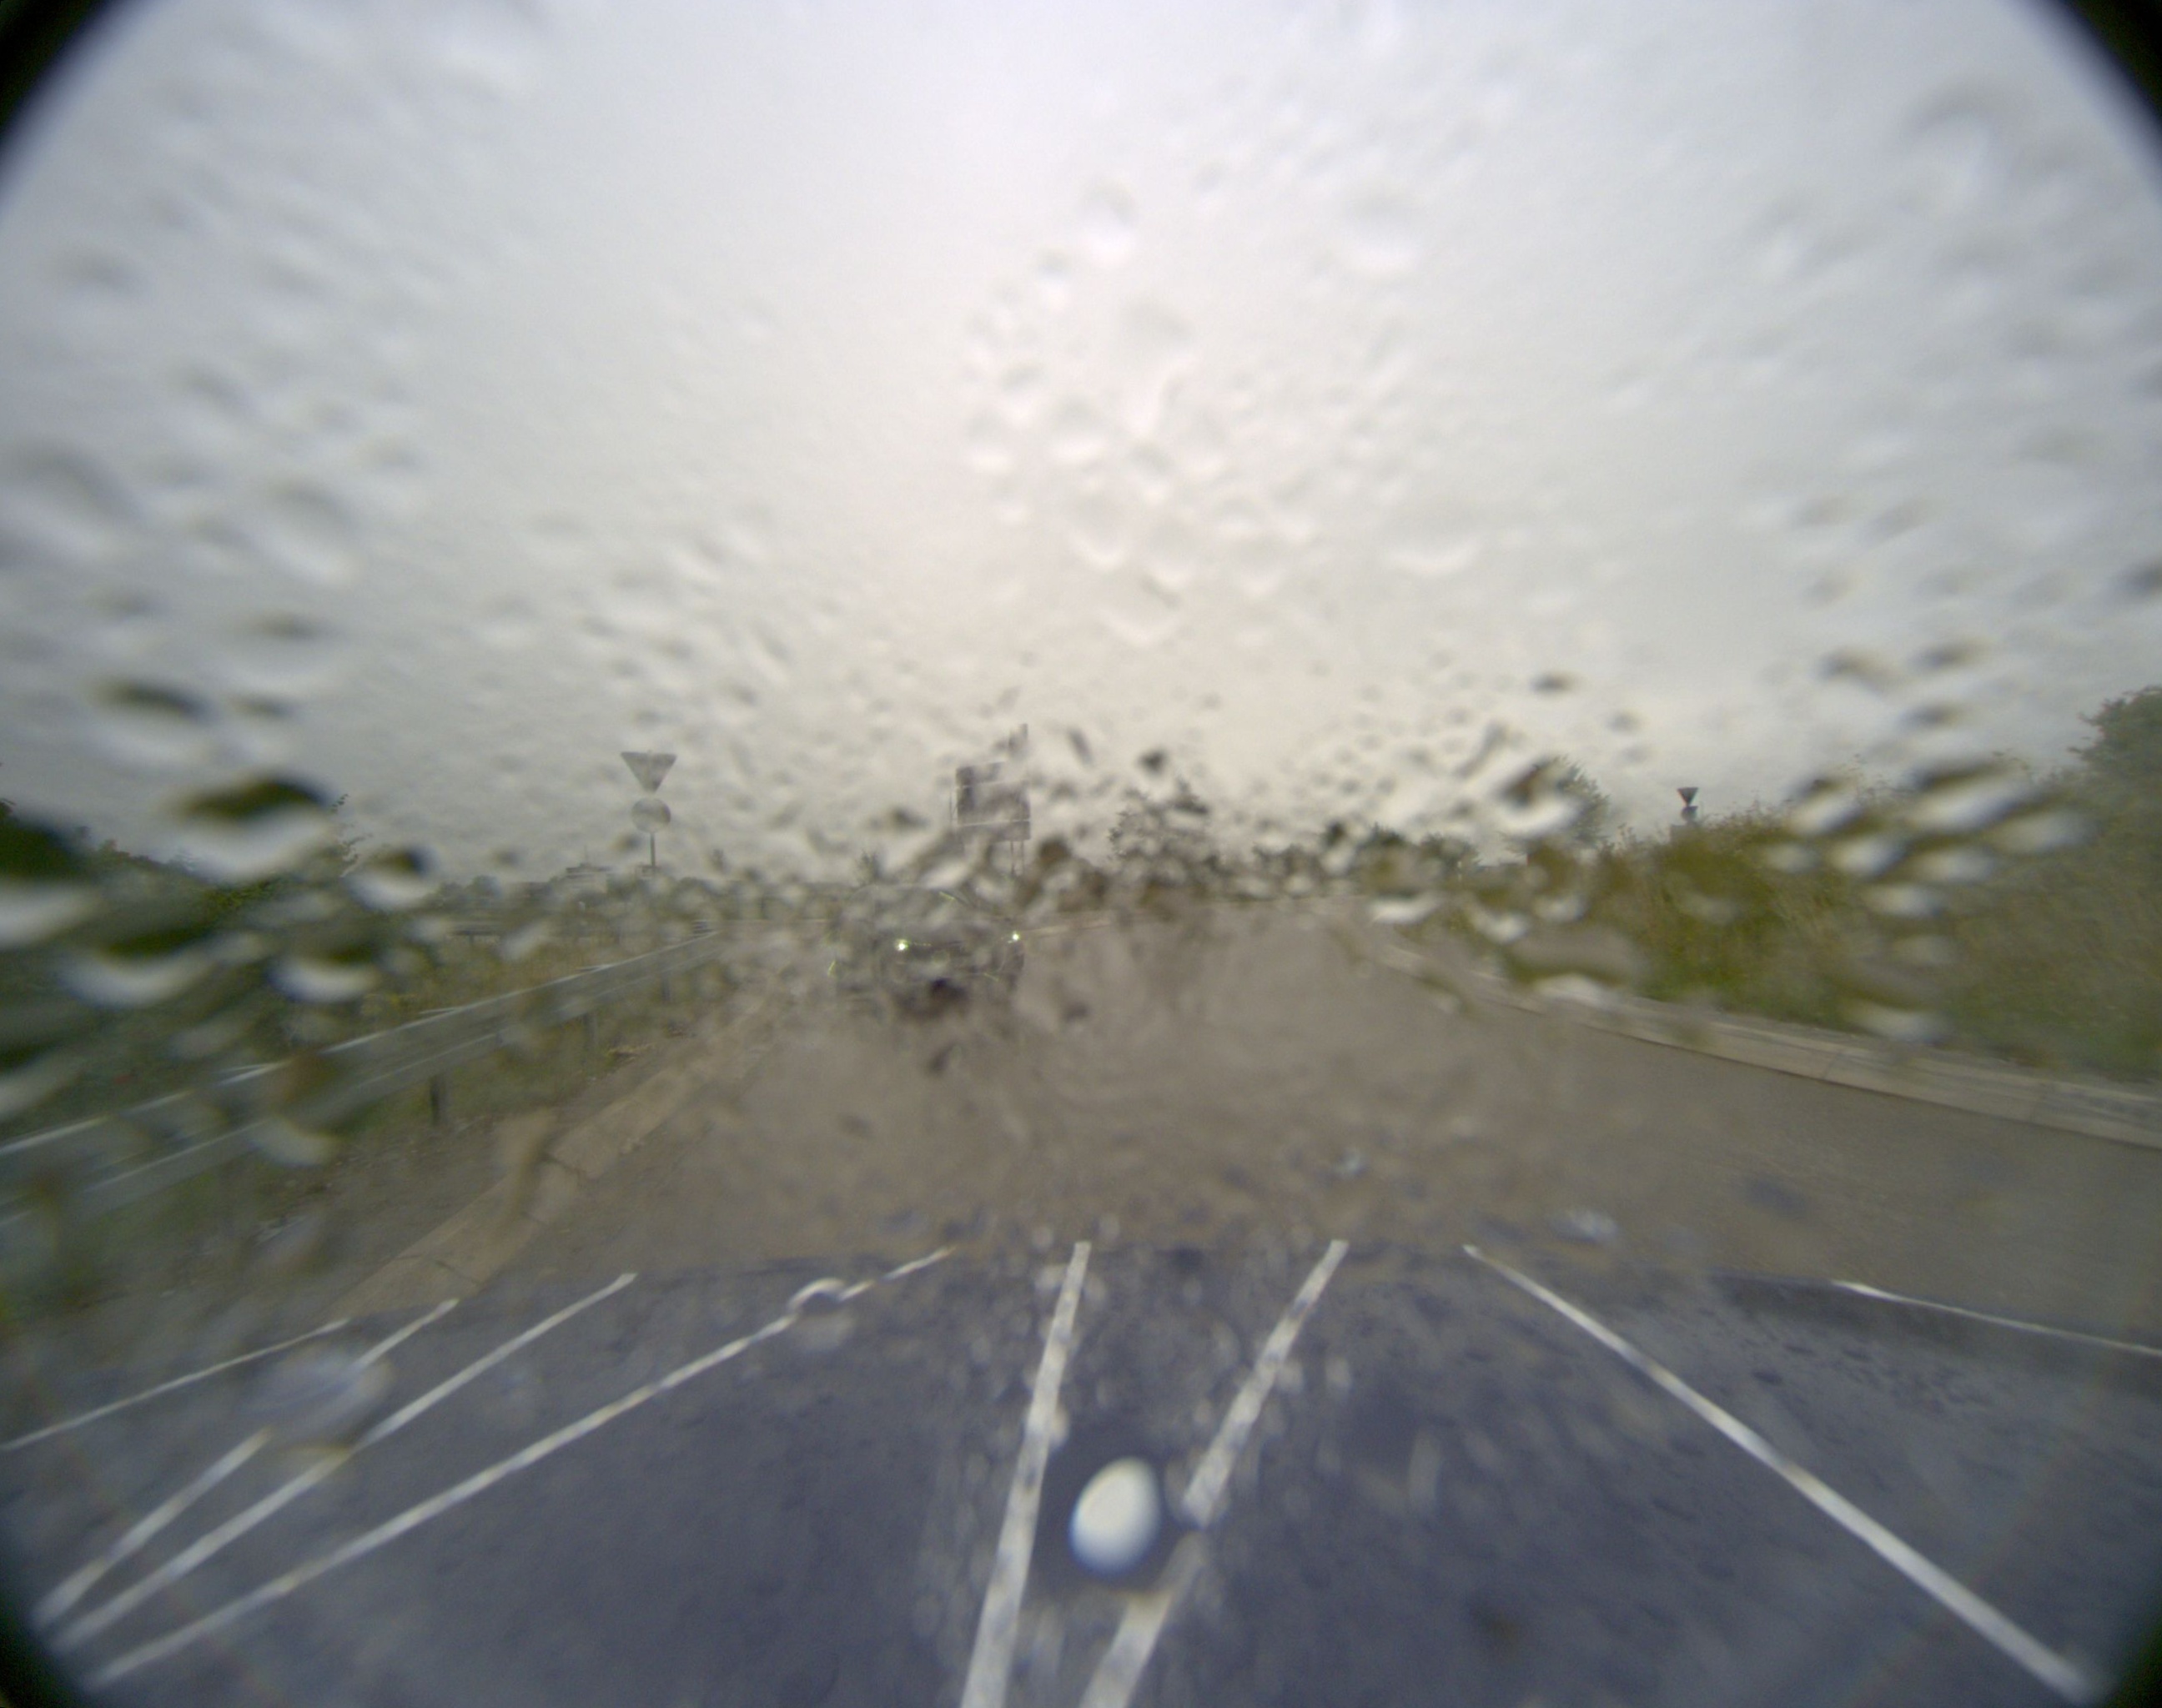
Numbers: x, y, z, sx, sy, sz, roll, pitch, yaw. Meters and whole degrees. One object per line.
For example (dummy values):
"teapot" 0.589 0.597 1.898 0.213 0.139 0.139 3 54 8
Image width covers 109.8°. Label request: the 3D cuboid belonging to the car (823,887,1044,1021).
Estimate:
"car" -2.361 1.231 10.977 1.913 1.361 4.557 -4 -1 -27
